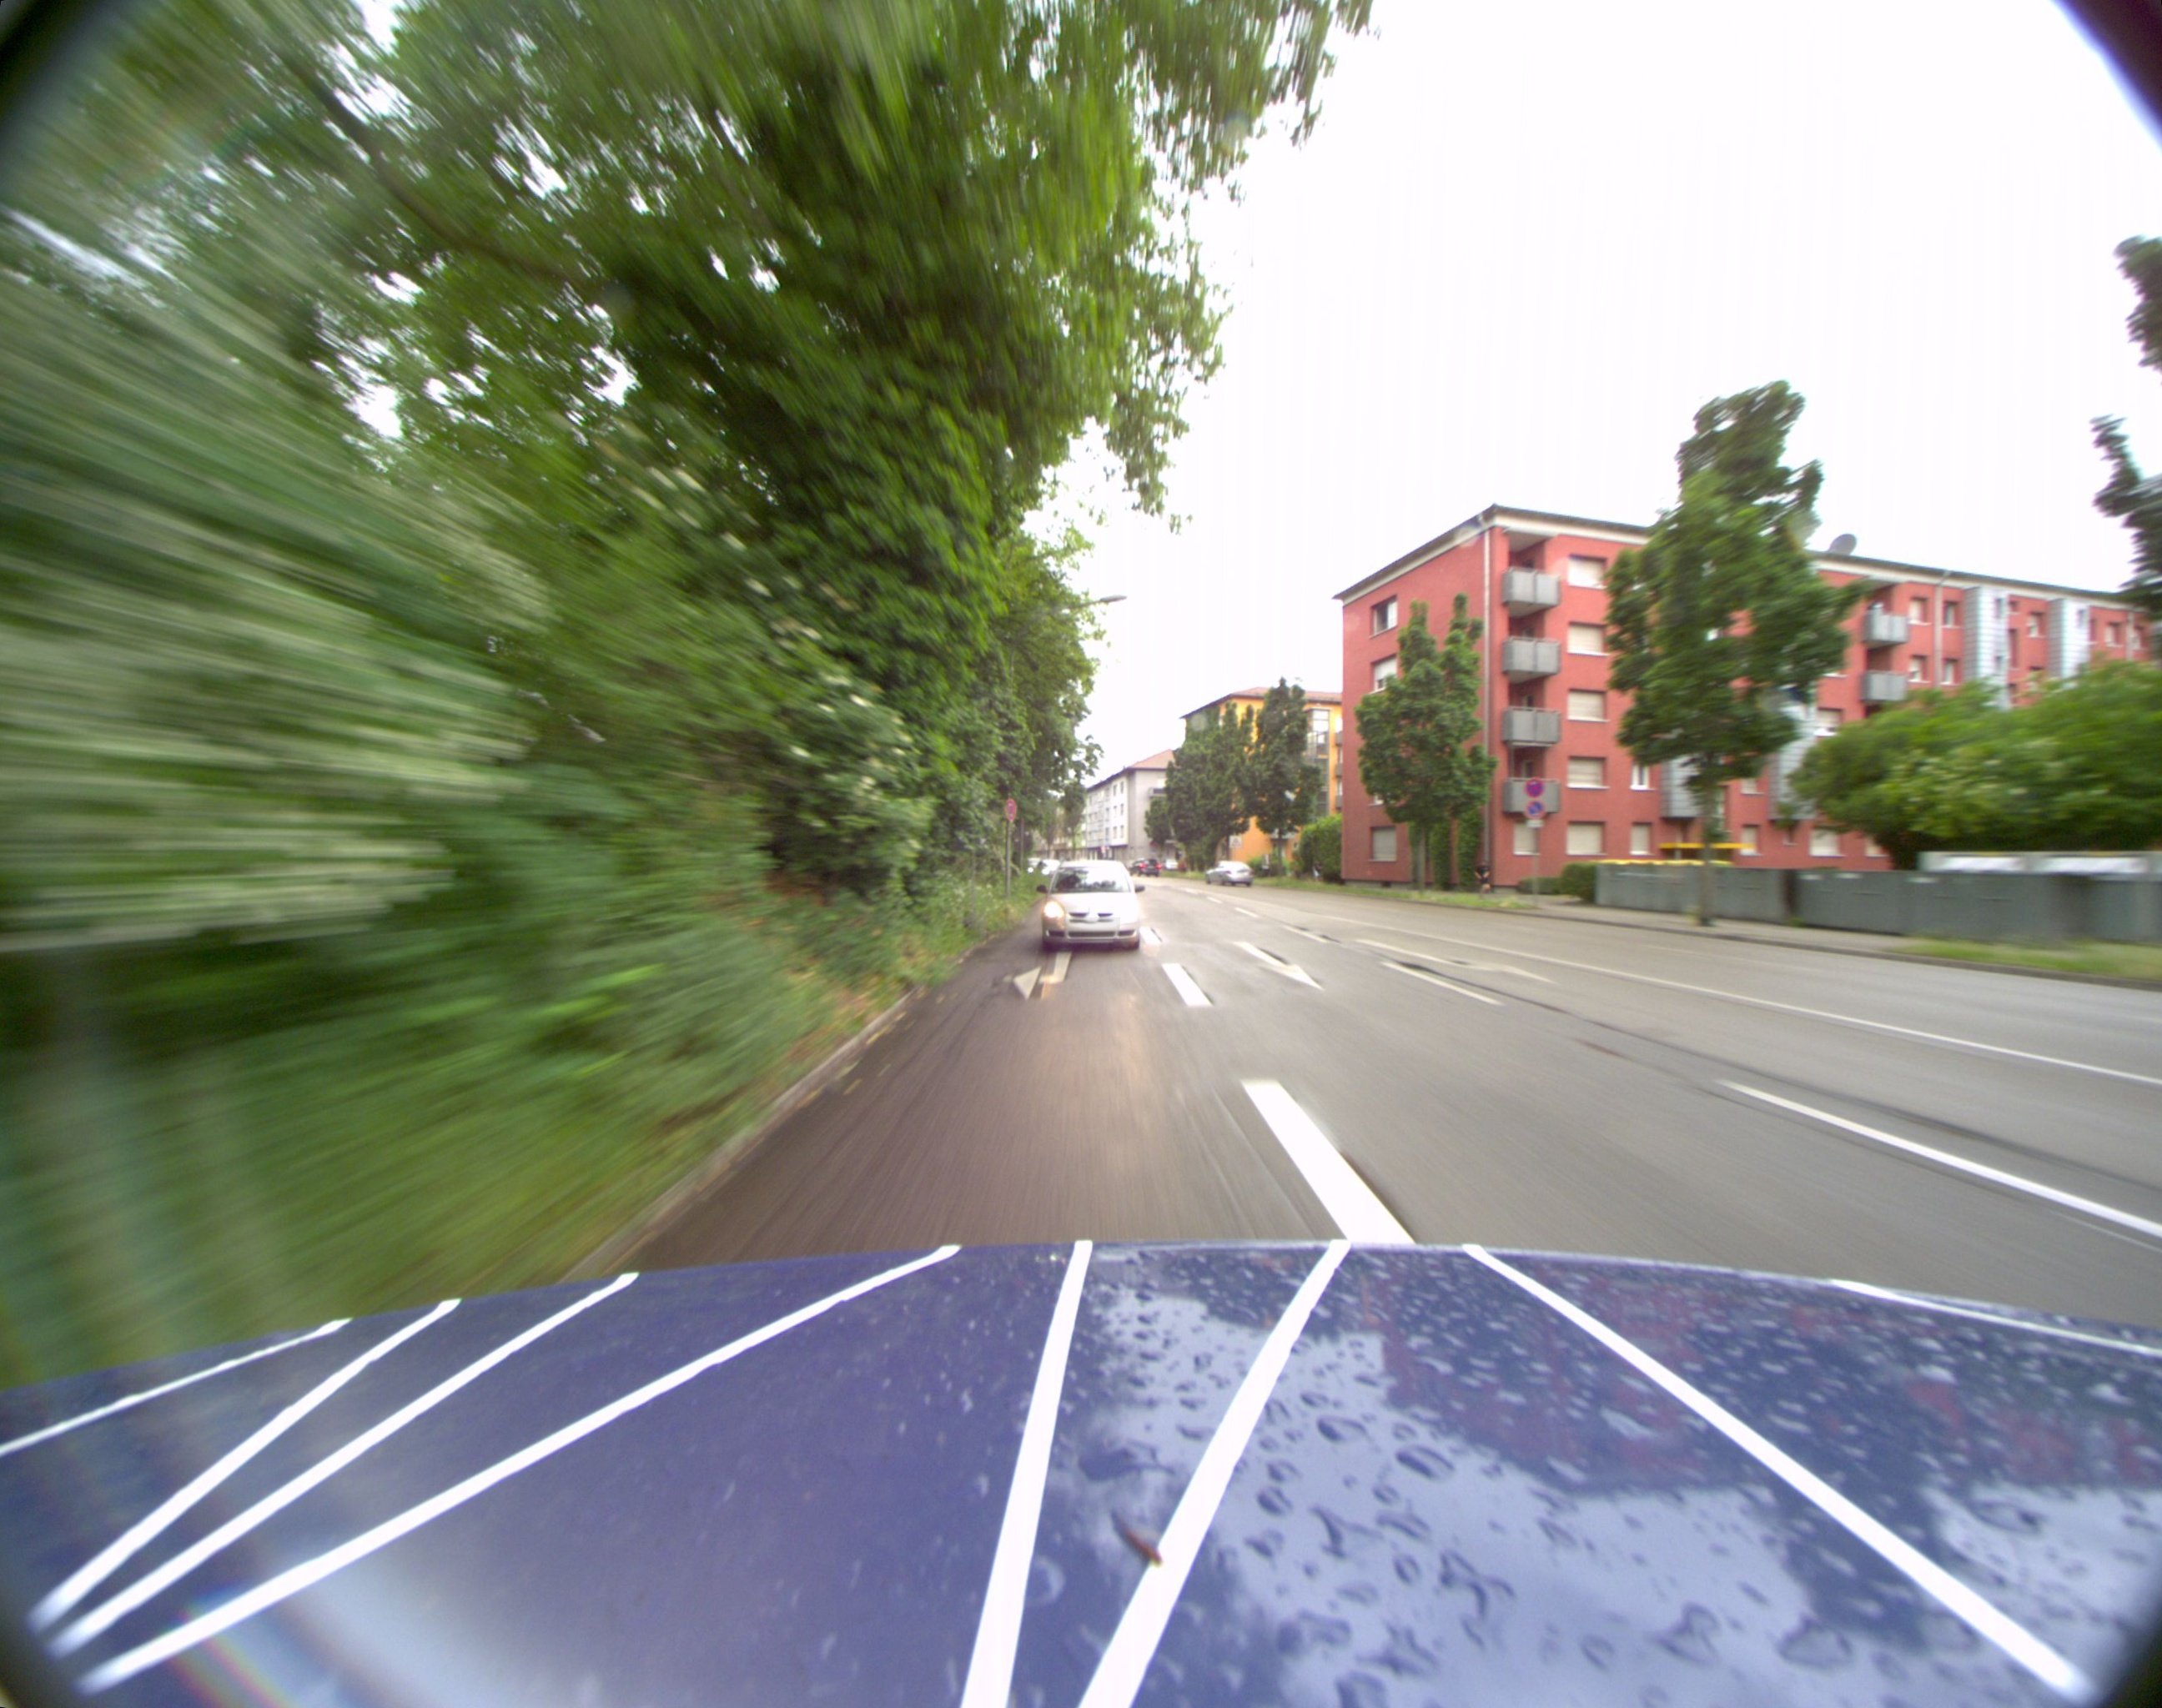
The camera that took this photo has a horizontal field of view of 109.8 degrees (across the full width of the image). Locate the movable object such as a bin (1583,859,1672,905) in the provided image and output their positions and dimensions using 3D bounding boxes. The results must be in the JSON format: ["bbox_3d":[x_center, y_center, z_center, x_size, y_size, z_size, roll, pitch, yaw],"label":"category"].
[{"bbox_3d":[16.364,0.804,22.818,1.161,1.323,1.965,0,0,-5],"label":"movable object such as a bin"}]

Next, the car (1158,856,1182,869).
[{"bbox_3d":[11.056,1.093,94.717,1.736,1.516,4.225,1,0,-10],"label":"car"}]

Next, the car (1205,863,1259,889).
[{"bbox_3d":[8.699,1.242,44.155,1.879,1.382,4.625,2,0,-4],"label":"car"}]

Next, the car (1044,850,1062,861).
[{"bbox_3d":[-3.976,0.179,106.379,1.682,1.553,4.137,0,0,-14],"label":"car"}]

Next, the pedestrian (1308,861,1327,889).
[{"bbox_3d":[12.669,1.113,40.662,0.673,1.440,0.835,1,0,-9],"label":"pedestrian"}]

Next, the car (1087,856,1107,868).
[{"bbox_3d":[2.150,1.051,103.987,1.853,1.536,4.243,-2,1,-10],"label":"car"}]

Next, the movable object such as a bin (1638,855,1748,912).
[{"bbox_3d":[16.564,0.769,20.650,1.219,1.476,2.086,0,0,-5],"label":"movable object such as a bin"}]

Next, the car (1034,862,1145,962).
[{"bbox_3d":[0.127,0.963,14.354,1.755,1.586,4.169,1,-1,0],"label":"car"}]

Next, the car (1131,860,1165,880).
[{"bbox_3d":[5.791,1.338,66.145,1.880,1.593,4.461,2,0,-8],"label":"car"}]

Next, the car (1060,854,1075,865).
[{"bbox_3d":[-2.283,0.939,128.357,1.906,1.859,4.311,0,0,-11],"label":"car"}]

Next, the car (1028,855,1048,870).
[{"bbox_3d":[-4.694,0.901,82.649,1.737,1.590,3.996,0,0,-9],"label":"car"}]

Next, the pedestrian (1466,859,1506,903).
[{"bbox_3d":[14.160,0.942,26.582,0.694,1.508,1.069,1,0,-9],"label":"pedestrian"}]

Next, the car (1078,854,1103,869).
[{"bbox_3d":[0.960,0.755,78.765,1.847,1.377,4.356,2,0,-9],"label":"car"}]
